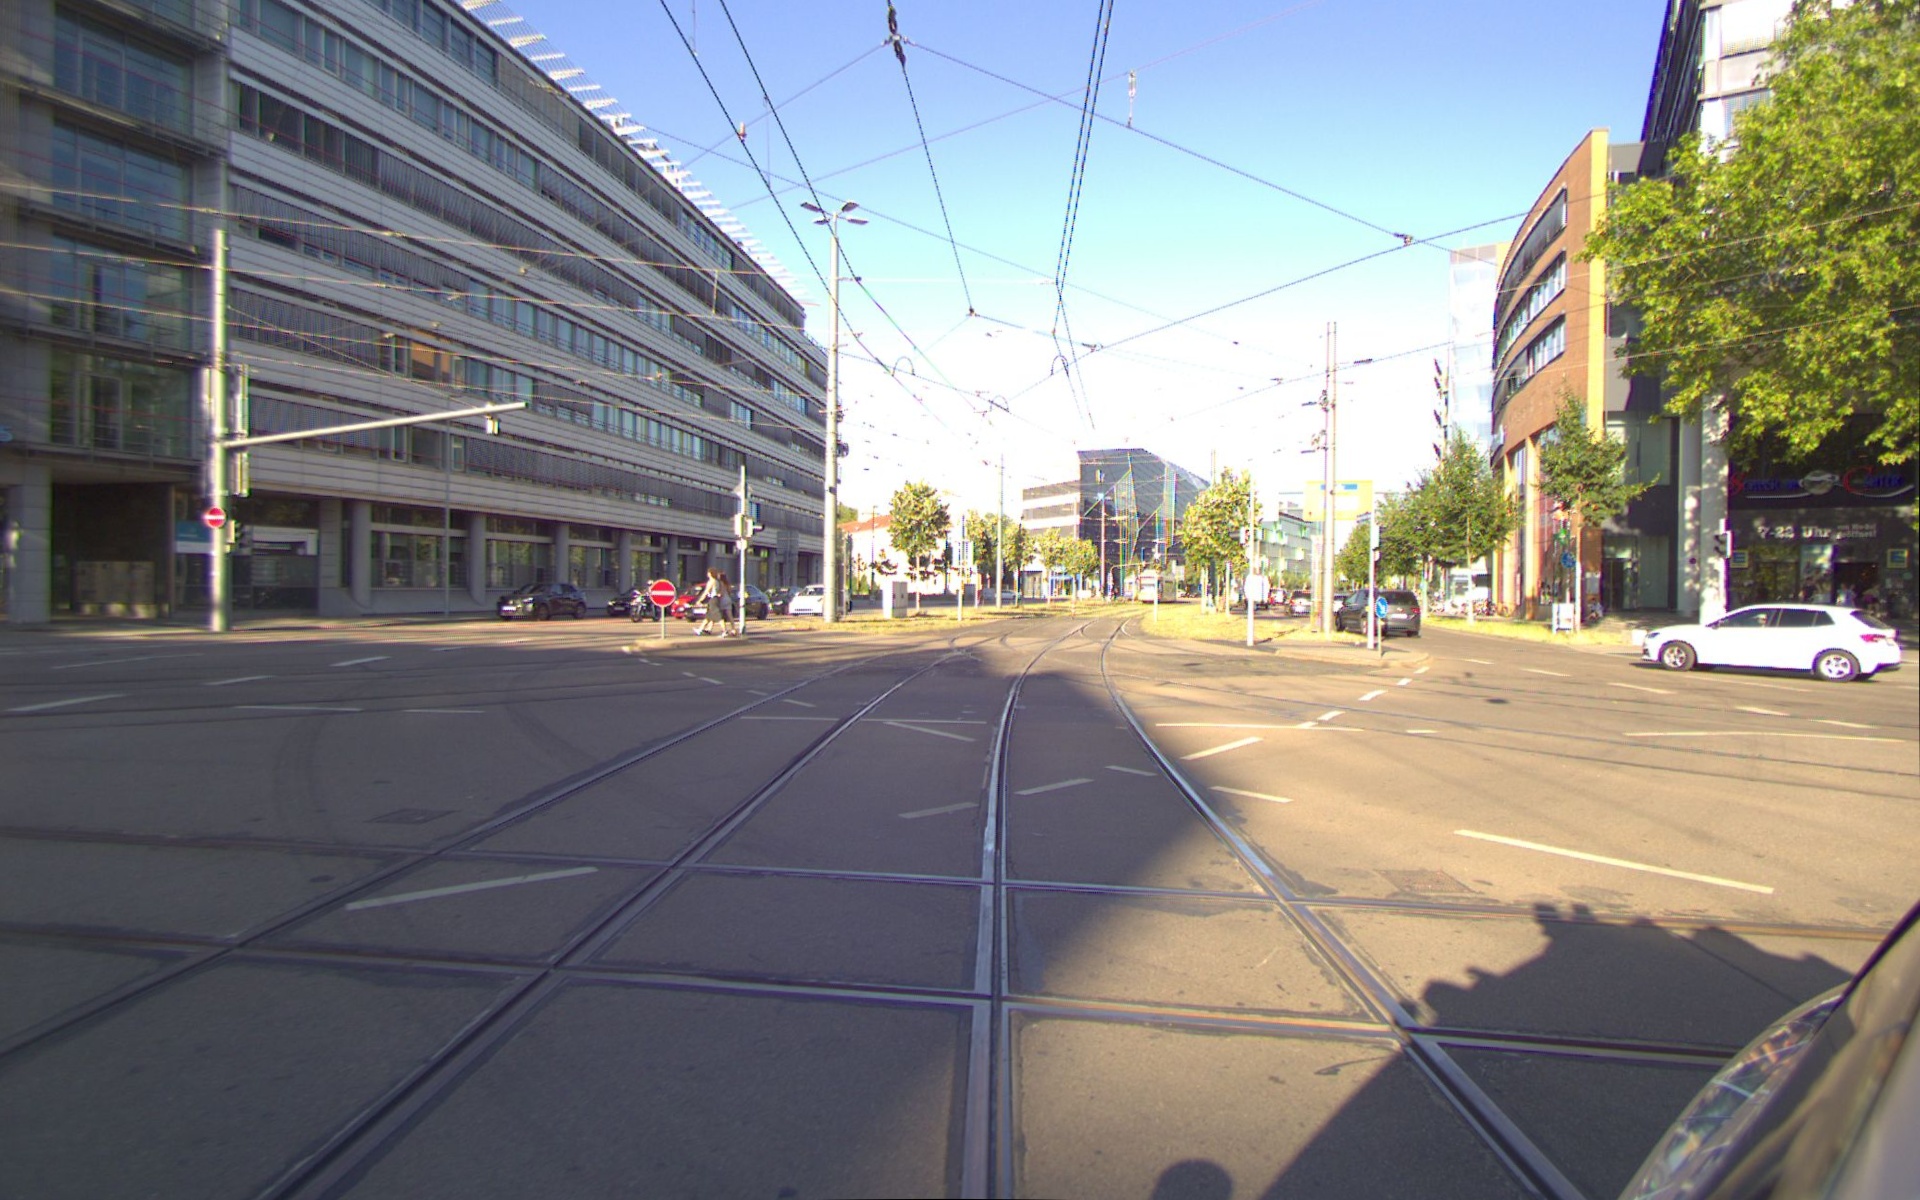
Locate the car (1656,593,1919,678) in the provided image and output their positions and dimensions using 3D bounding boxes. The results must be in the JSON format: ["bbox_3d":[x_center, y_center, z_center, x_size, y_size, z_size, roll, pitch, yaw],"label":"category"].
[{"bbox_3d":[16.445,0.621,20.118,1.606,1.470,3.997,1,0,-38],"label":"car"}]

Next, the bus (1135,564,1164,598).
[{"bbox_3d":[20.209,-1.927,108.302,2.681,3.451,9.644,1,0,8],"label":"bus"}]

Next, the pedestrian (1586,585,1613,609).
[{"bbox_3d":[29.072,-0.135,45.992,0.762,1.094,0.681,1,1,1],"label":"pedestrian"}]

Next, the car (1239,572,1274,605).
[{"bbox_3d":[23.442,-0.884,80.123,1.968,2.512,5.956,1,0,10],"label":"car"}]

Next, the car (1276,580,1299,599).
[{"bbox_3d":[35.165,-1.150,108.737,1.598,2.039,3.847,1,1,29],"label":"car"}]

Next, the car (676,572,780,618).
[{"bbox_3d":[-8.742,-0.182,38.532,1.879,1.642,4.498,1,0,17],"label":"car"}]

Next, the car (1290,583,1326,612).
[{"bbox_3d":[20.537,-0.159,59.798,1.840,1.653,4.239,1,0,17],"label":"car"}]

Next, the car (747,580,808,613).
[{"bbox_3d":[-9.120,-0.197,50.904,1.604,1.616,3.985,0,1,12],"label":"car"}]

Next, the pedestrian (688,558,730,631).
[{"bbox_3d":[-6.466,-0.148,26.147,0.947,1.865,0.699,1,1,-5],"label":"pedestrian"}]

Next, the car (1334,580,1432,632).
[{"bbox_3d":[14.622,0.179,35.214,1.588,1.623,4.175,2,0,0],"label":"car"}]

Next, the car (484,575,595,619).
[{"bbox_3d":[-16.574,-0.126,40.116,1.879,1.642,4.148,1,0,17],"label":"car"}]

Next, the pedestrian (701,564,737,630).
[{"bbox_3d":[-6.387,-0.084,26.846,0.829,1.709,0.649,1,1,-5],"label":"pedestrian"}]

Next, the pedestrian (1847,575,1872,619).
[{"bbox_3d":[34.893,-0.132,39.255,0.590,1.677,0.586,1,1,30],"label":"pedestrian"}]

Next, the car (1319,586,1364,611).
[{"bbox_3d":[25.847,-0.126,68.635,1.833,1.653,4.255,1,0,6],"label":"car"}]

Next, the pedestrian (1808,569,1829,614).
[{"bbox_3d":[33.987,-0.347,40.054,0.591,1.777,0.586,1,1,43],"label":"pedestrian"}]

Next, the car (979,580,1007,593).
[{"bbox_3d":[4.841,-2.044,148.943,3.919,1.883,2.003,1,1,-7],"label":"car"}]

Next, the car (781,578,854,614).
[{"bbox_3d":[-6.758,-0.172,48.392,1.879,1.642,4.148,1,0,17],"label":"car"}]

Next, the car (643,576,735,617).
[{"bbox_3d":[-11.496,-0.142,43.172,1.879,1.642,4.148,1,0,17],"label":"car"}]

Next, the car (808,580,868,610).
[{"bbox_3d":[-6.973,-0.286,58.266,1.879,1.642,4.148,1,0,17],"label":"car"}]

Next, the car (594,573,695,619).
[{"bbox_3d":[-12.049,-0.151,38.863,1.879,1.642,3.844,1,0,17],"label":"car"}]
